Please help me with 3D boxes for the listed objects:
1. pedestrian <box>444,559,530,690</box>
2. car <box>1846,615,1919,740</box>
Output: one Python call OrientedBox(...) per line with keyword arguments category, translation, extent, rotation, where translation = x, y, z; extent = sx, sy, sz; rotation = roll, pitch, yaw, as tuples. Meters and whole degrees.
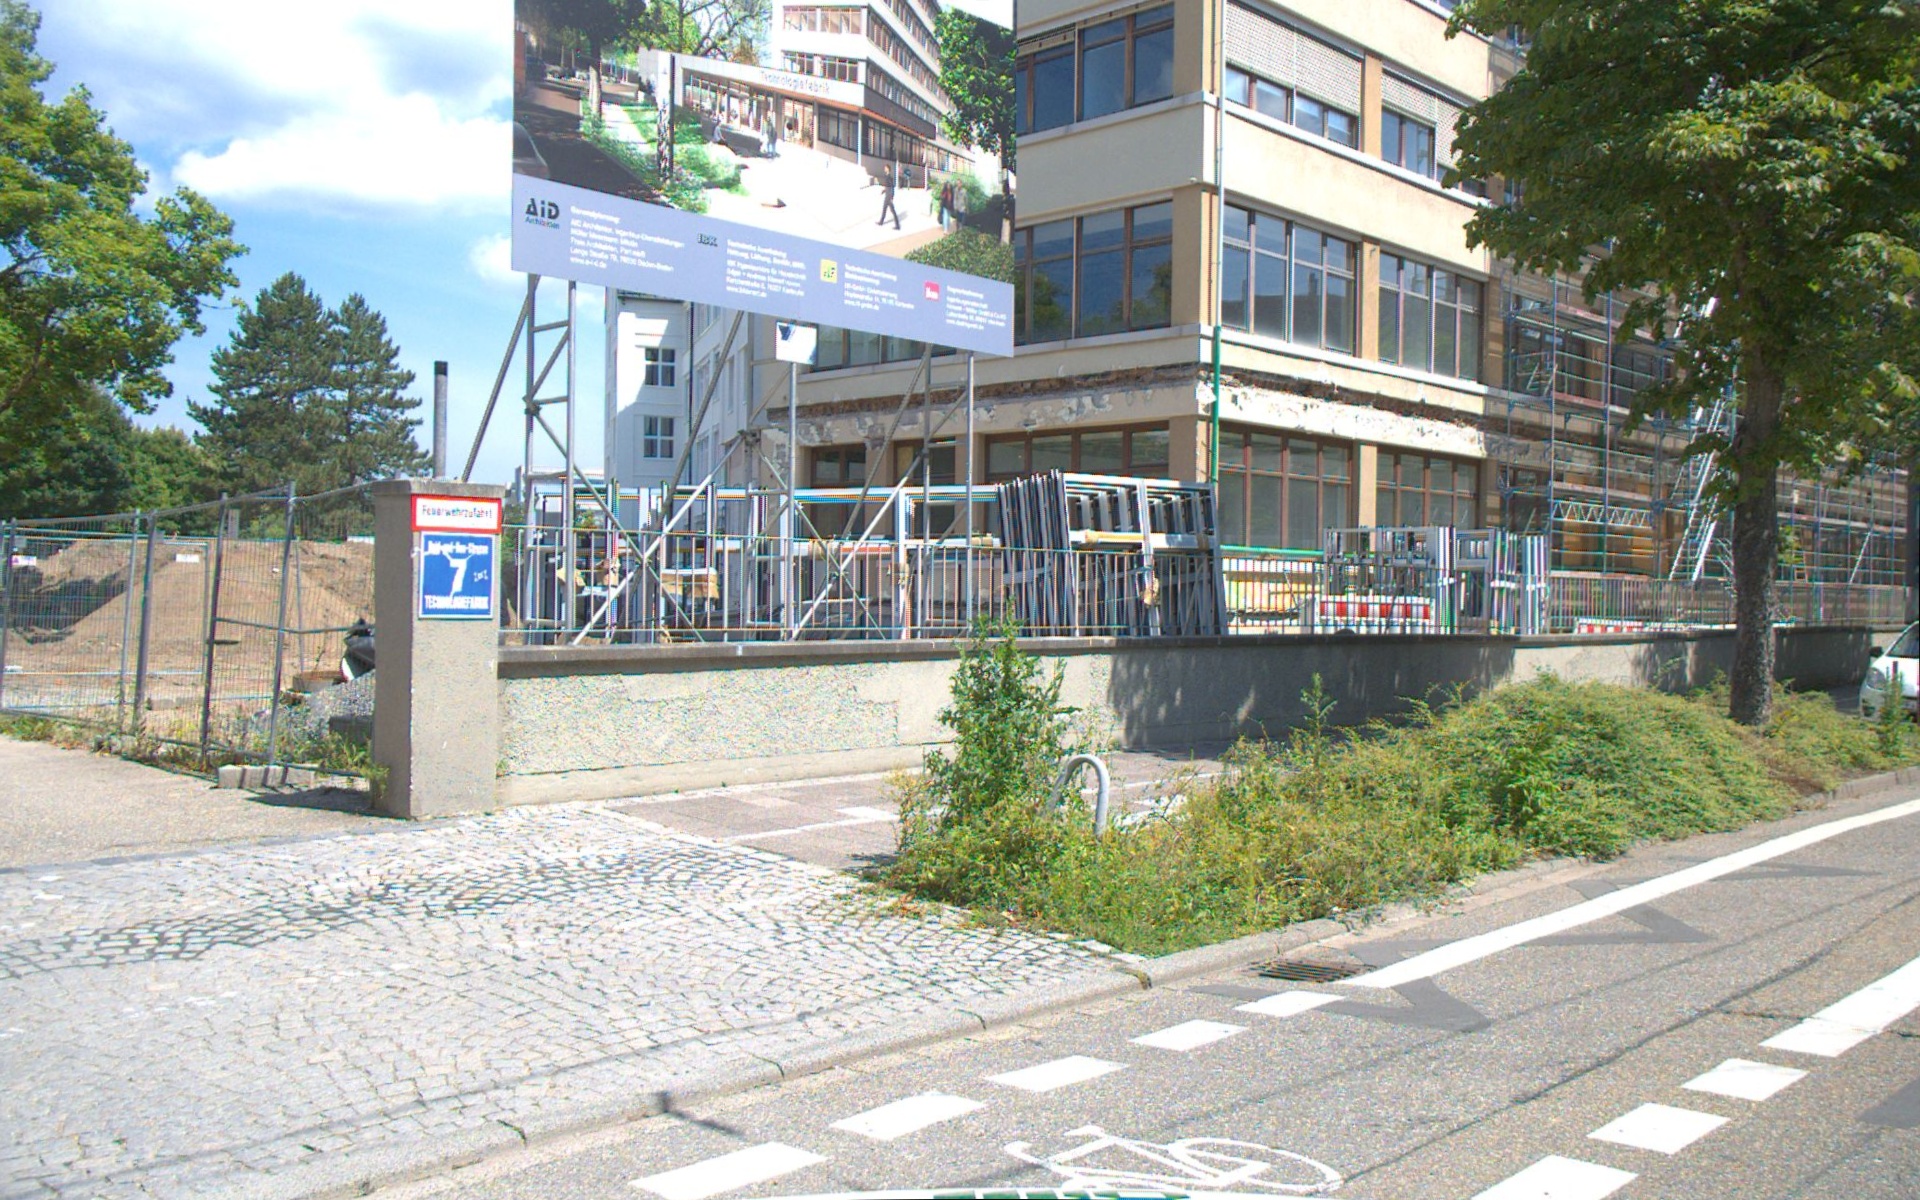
OrientedBox(category="pedestrian", translation=(-6.866, 0.349, 24.003), extent=(0.957, 1.851, 0.859), rotation=(1, 0, -36))
OrientedBox(category="car", translation=(12.745, 0.943, 20.931), extent=(3.553, 1.465, 1.598), rotation=(1, 1, -42))
